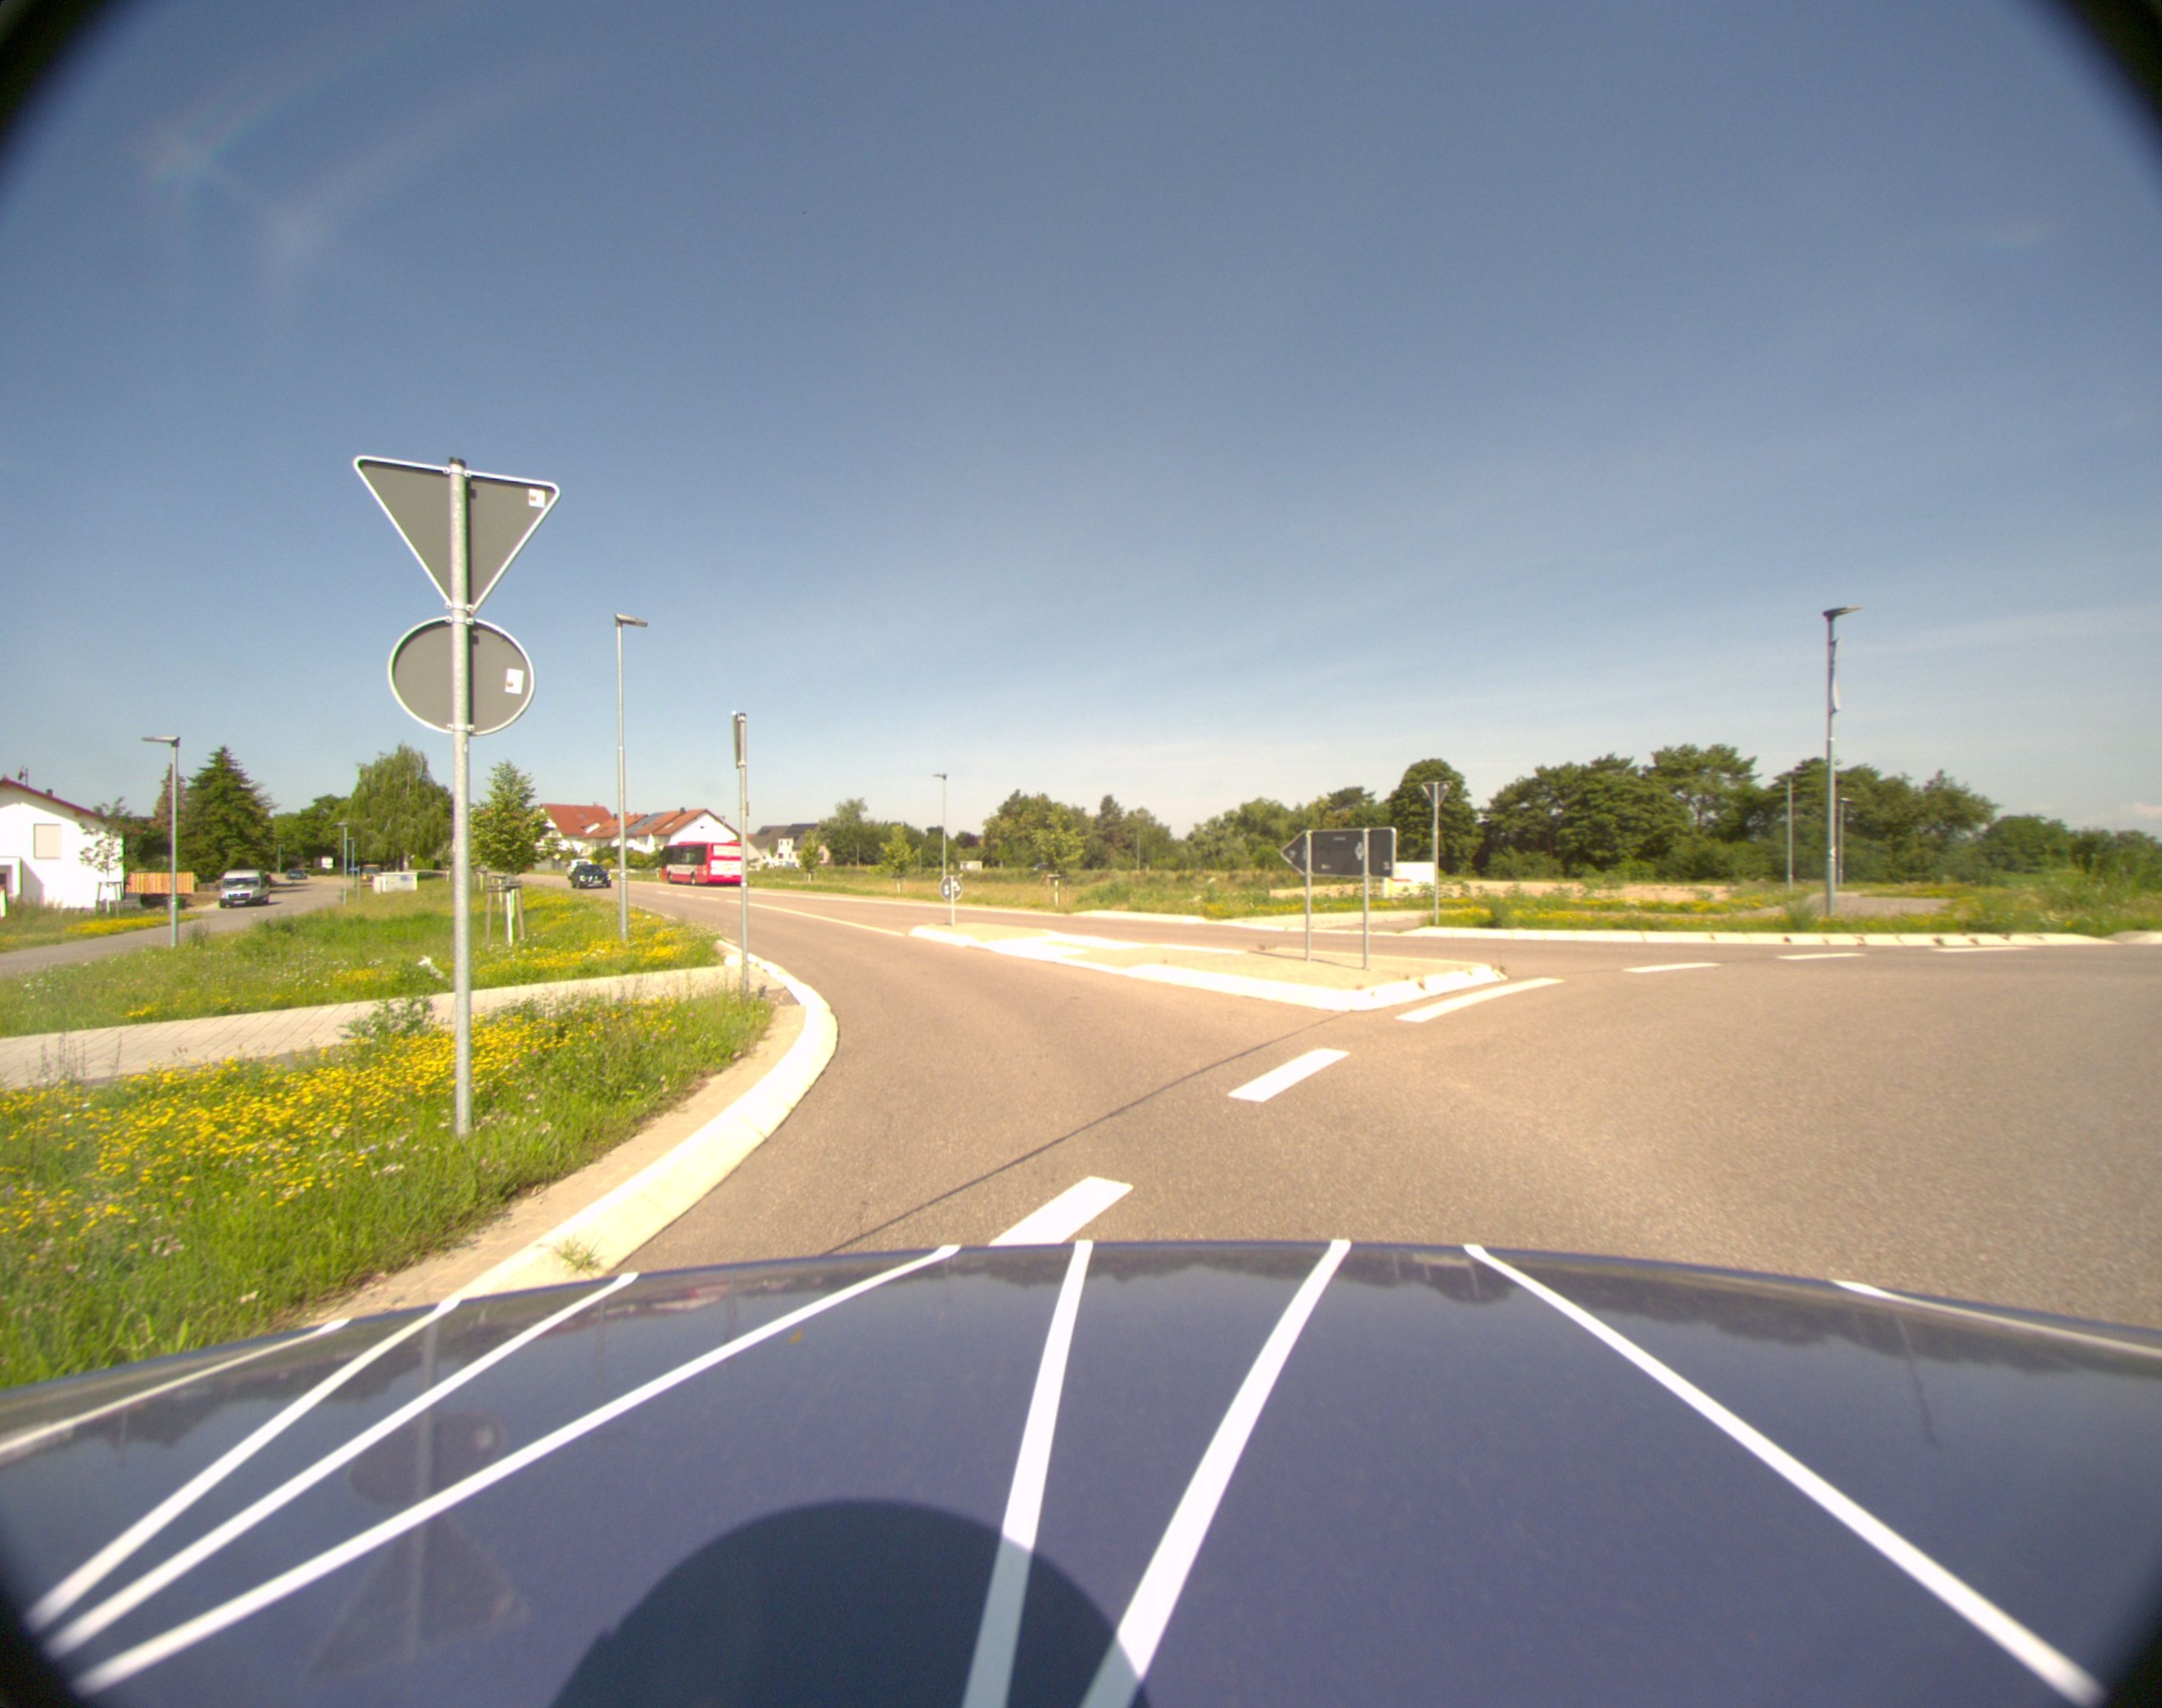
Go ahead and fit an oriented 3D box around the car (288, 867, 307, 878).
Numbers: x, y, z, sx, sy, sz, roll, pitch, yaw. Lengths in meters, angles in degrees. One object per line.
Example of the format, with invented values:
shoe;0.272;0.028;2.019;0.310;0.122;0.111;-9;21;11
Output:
car;-115.370;2.748;111.877;4.156;1.437;1.868;0;3;45

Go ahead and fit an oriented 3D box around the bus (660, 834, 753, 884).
bus;-26.973;0.431;54.279;2.810;3.267;12.195;2;-2;-42

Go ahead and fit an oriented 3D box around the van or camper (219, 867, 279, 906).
van or camper;-59.736;2.252;54.654;2.183;2.586;6.013;-2;1;-42

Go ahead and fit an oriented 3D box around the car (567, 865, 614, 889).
car;-33.472;1.567;51.793;1.939;1.552;3.989;-1;-1;-44

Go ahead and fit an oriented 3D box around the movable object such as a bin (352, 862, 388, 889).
movable object such as a bin;-70.908;2.134;75.823;2.328;2.449;6.927;-4;1;-42

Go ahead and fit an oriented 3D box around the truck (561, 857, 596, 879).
truck;-49.476;1.368;74.696;1.961;1.973;5.628;-3;1;-42
